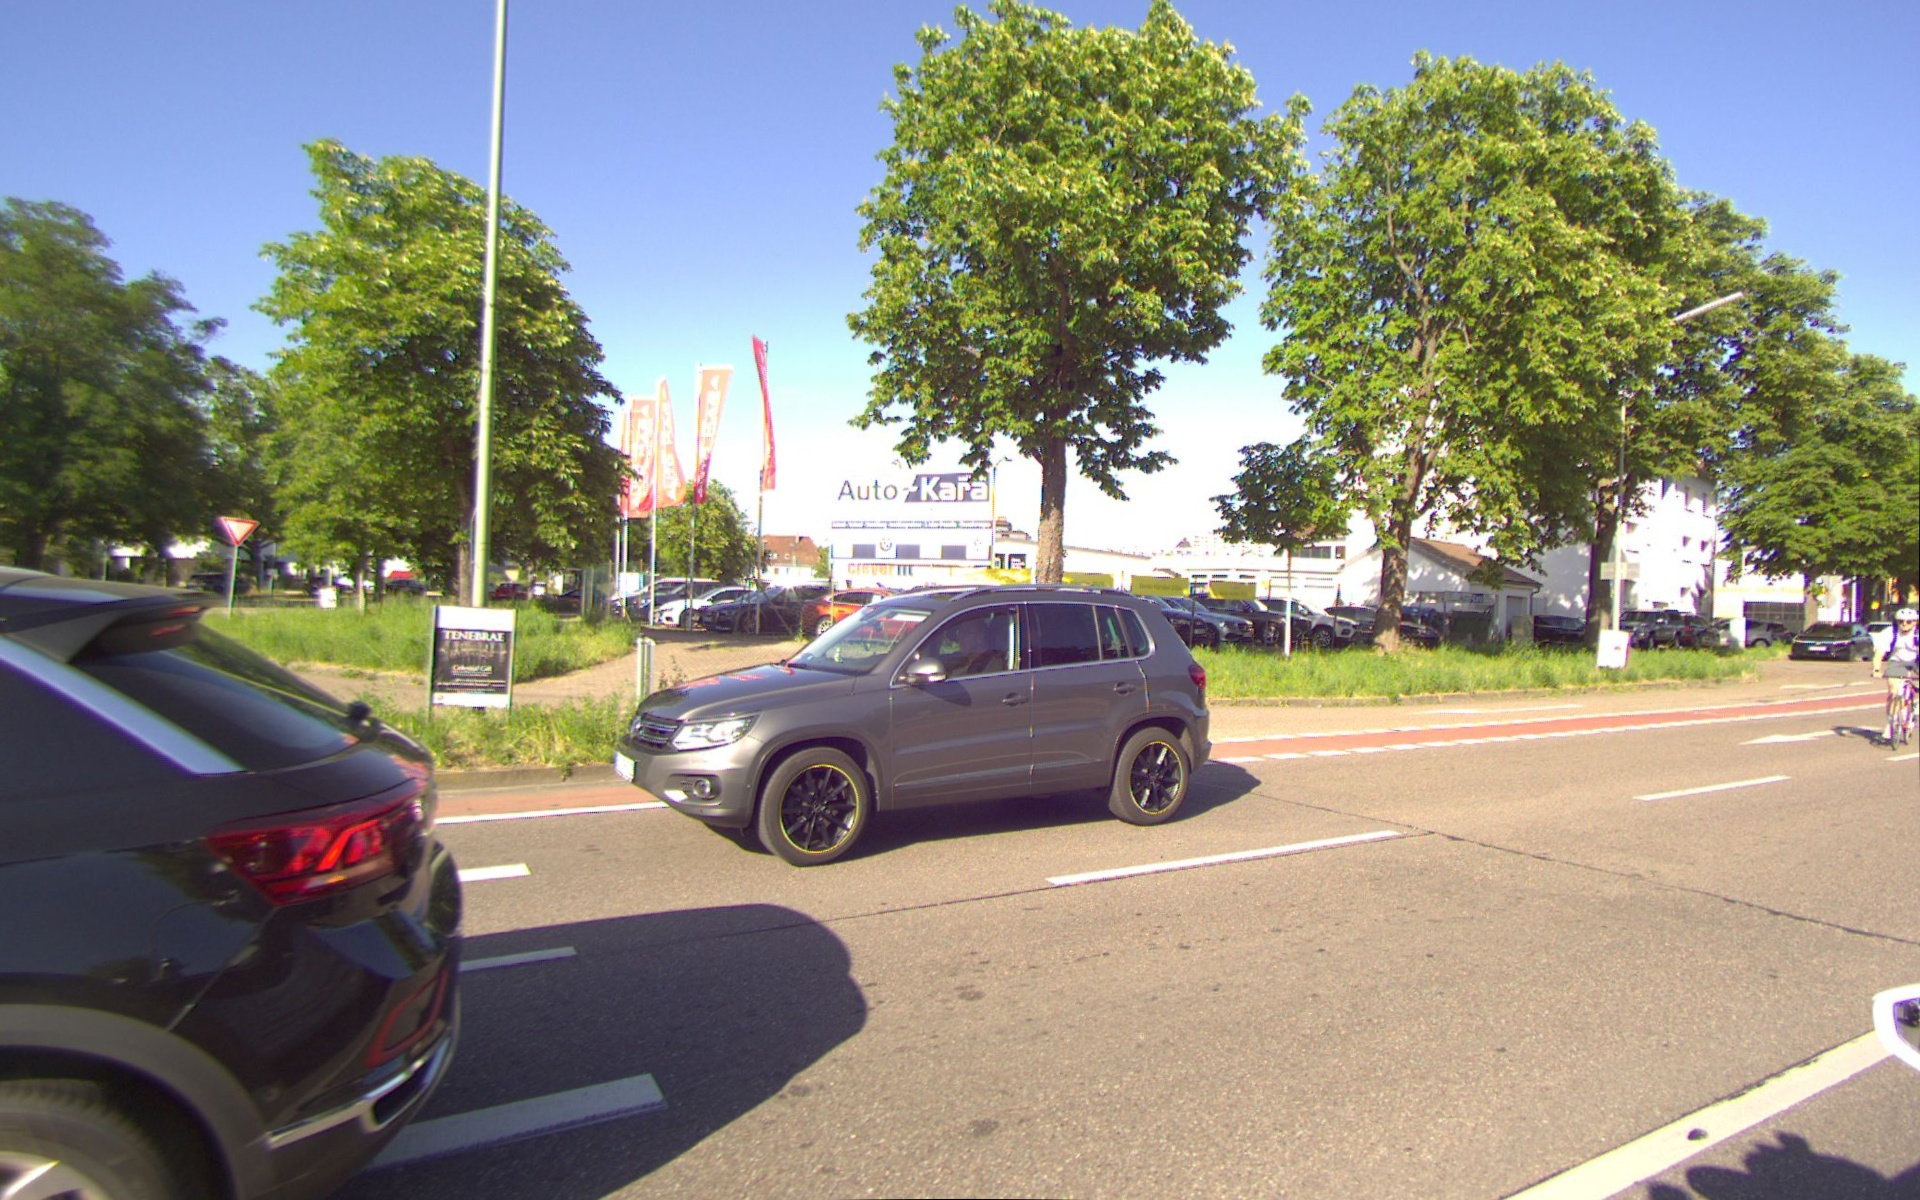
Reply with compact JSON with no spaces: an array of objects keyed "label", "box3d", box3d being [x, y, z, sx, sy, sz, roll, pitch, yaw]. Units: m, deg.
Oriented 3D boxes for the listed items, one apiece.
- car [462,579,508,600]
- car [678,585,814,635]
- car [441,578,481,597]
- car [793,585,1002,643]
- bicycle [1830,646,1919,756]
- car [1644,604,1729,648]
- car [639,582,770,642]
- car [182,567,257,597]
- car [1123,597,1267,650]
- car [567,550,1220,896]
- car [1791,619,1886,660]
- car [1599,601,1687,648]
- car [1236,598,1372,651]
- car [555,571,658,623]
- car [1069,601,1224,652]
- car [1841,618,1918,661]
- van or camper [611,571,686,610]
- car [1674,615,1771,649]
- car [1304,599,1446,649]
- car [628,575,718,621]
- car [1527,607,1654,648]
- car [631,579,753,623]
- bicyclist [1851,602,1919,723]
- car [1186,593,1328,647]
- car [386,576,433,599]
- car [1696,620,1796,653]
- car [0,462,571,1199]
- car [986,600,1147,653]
[{"label":"car","box3d":[-38.032,-0.856,80.481,1.962,1.469,3.997,3,1,-5]},{"label":"car","box3d":[-6.831,0.317,32.119,3.950,1.481,1.732,2,0,-28]},{"label":"car","box3d":[-42.254,-1.048,85.144,1.837,1.459,3.481,3,1,-5]},{"label":"car","box3d":[-1.642,0.322,26.509,4.964,1.327,2.359,2,1,24]},{"label":"bicycle","box3d":[12.342,1.254,13.193,3.185,1.242,0.786,1,0,-39]},{"label":"car","box3d":[34.583,1.226,47.792,4.746,1.956,2.053,1,1,-39]},{"label":"car","box3d":[-8.668,0.430,34.144,3.950,1.911,1.985,2,0,-28]},{"label":"car","box3d":[-48.048,-1.170,65.258,1.971,1.820,3.999,1,1,-1]},{"label":"car","box3d":[7.155,0.682,30.767,3.821,1.431,1.937,2,1,40]},{"label":"car","box3d":[-0.354,0.652,7.030,4.223,1.759,1.842,1,-1,-32]},{"label":"car","box3d":[35.443,1.573,40.476,4.918,1.483,2.021,1,0,-39]},{"label":"car","box3d":[30.465,1.095,44.731,5.056,1.956,1.734,1,0,-38]},{"label":"car","box3d":[11.689,0.781,34.297,3.946,1.632,1.910,2,1,45]},{"label":"car","box3d":[-14.799,-0.105,42.278,3.934,2.040,1.993,1,0,-16]},{"label":"car","box3d":[5.317,0.713,28.745,3.870,1.257,2.036,2,1,37]},{"label":"car","box3d":[41.728,1.758,45.539,5.197,1.752,2.019,1,1,-42]},{"label":"van or camper","box3d":[-22.745,-0.627,73.735,2.553,2.617,6.616,1,-1,9]},{"label":"car","box3d":[39.094,1.608,51.604,3.600,1.530,1.783,2,1,26]},{"label":"car","box3d":[14.717,0.807,35.698,4.336,1.596,1.808,2,1,36]},{"label":"car","box3d":[-13.396,-0.084,46.926,3.936,2.041,1.992,1,1,-17]},{"label":"car","box3d":[25.215,1.084,40.258,1.894,1.448,3.951,3,-1,-41]},{"label":"car","box3d":[-9.734,0.041,36.519,3.950,1.460,1.985,2,0,-28]},{"label":"bicyclist","box3d":[12.235,0.788,13.091,0.818,1.505,0.766,0,1,-38]},{"label":"car","box3d":[9.539,0.596,32.335,3.936,1.581,1.992,2,1,38]},{"label":"car","box3d":[-43.187,-0.965,78.894,1.705,1.640,3.997,3,1,-5]},{"label":"car","box3d":[41.636,1.928,53.335,3.930,1.619,1.996,0,0,31]},{"label":"car","box3d":[-2.959,0.570,1.840,3.952,1.620,1.904,2,-1,-30]},{"label":"car","box3d":[2.858,0.676,27.338,3.870,1.257,2.036,2,1,37]}]
